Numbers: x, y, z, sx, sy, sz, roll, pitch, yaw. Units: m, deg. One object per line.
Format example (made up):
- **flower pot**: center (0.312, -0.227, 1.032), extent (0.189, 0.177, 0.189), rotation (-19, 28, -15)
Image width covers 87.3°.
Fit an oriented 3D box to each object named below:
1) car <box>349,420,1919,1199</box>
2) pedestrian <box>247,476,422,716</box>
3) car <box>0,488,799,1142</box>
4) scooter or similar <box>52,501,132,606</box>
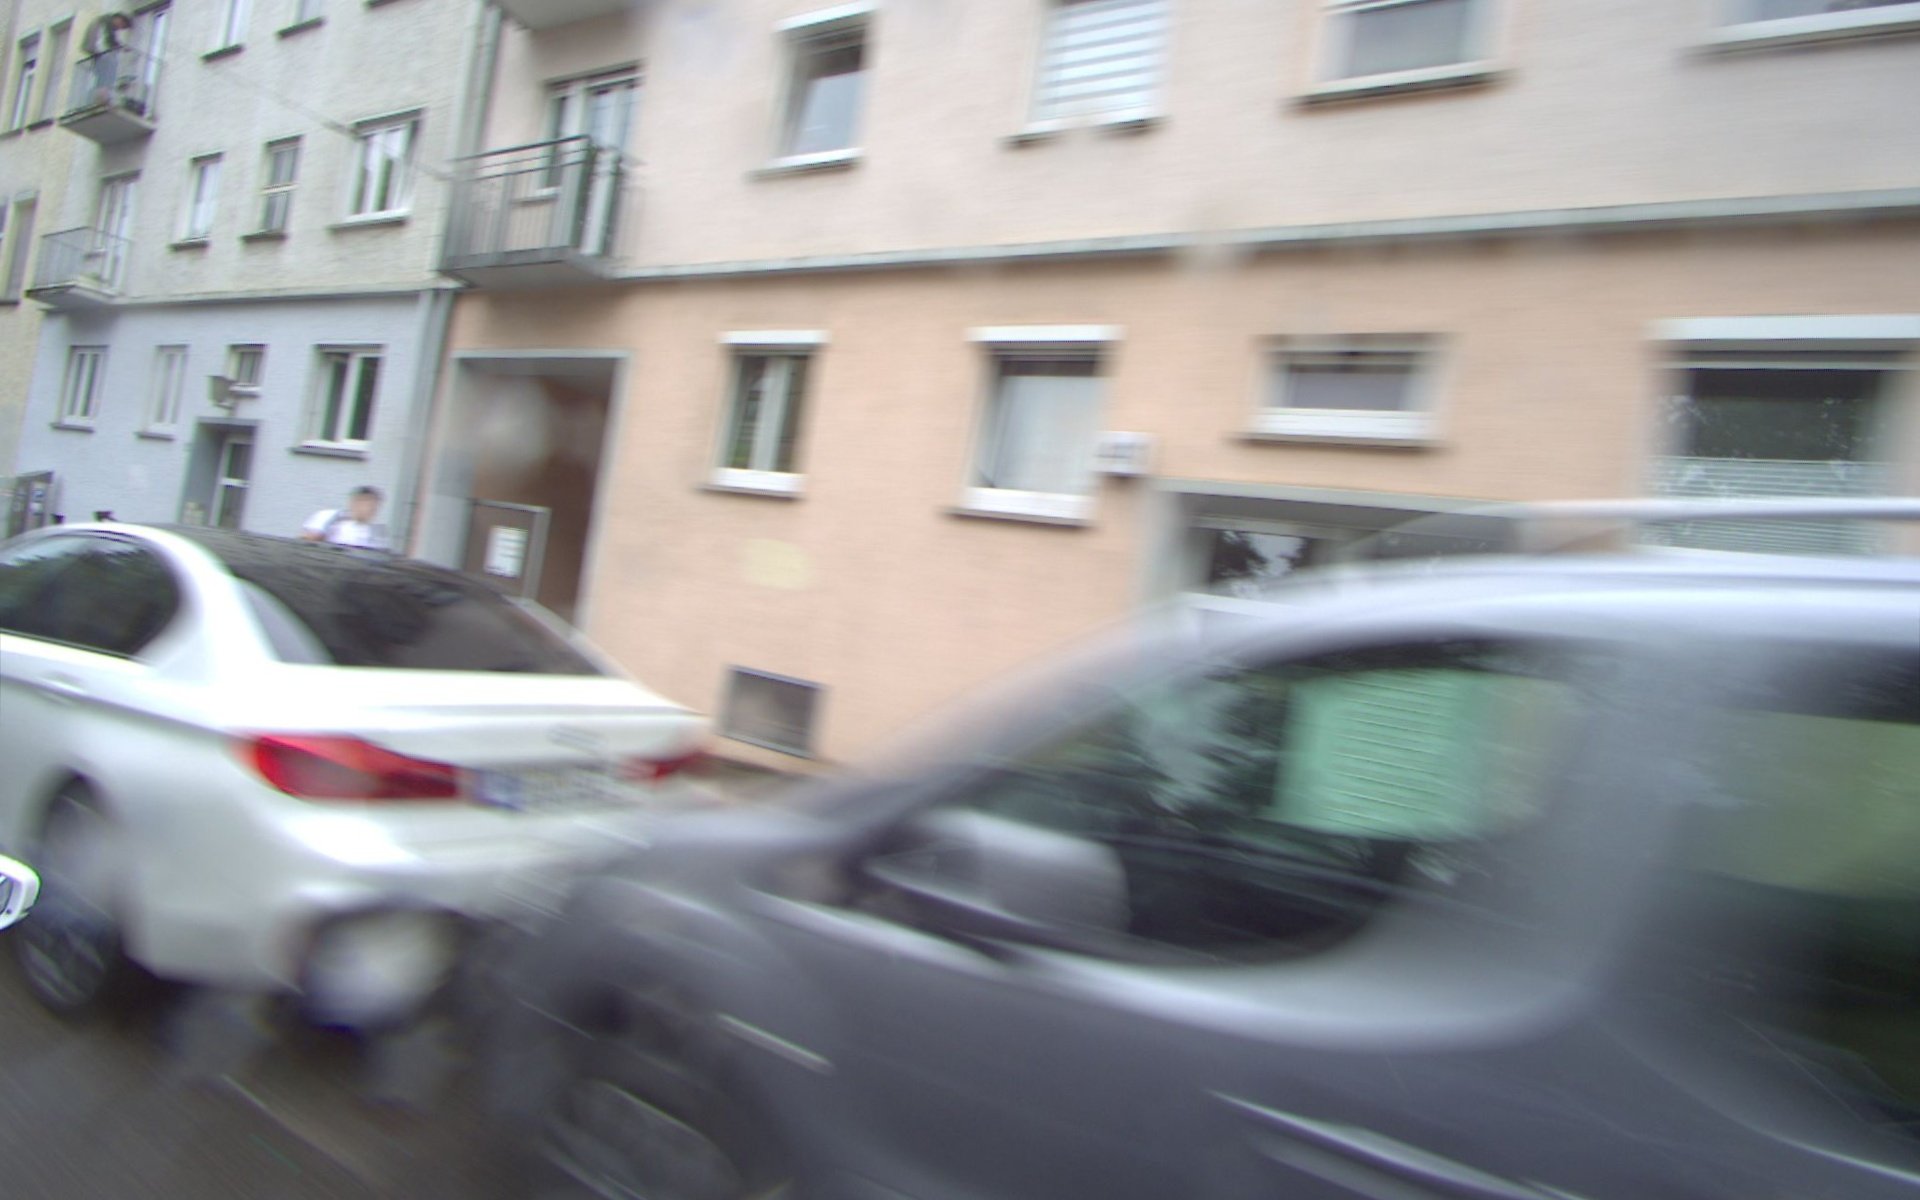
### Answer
- **car**: center (0.916, 0.763, 2.035), extent (4.141, 1.786, 1.794), rotation (7, -1, 31)
- **pedestrian**: center (-5.270, -0.037, 8.478), extent (1.022, 1.857, 0.746), rotation (7, 1, 32)
- **car**: center (-3.268, 0.401, 4.430), extent (4.819, 1.472, 1.876), rotation (7, -2, 30)
- **scooter or similar**: center (-12.007, -0.652, 13.916), extent (1.152, 1.312, 0.388), rotation (7, -1, 32)
